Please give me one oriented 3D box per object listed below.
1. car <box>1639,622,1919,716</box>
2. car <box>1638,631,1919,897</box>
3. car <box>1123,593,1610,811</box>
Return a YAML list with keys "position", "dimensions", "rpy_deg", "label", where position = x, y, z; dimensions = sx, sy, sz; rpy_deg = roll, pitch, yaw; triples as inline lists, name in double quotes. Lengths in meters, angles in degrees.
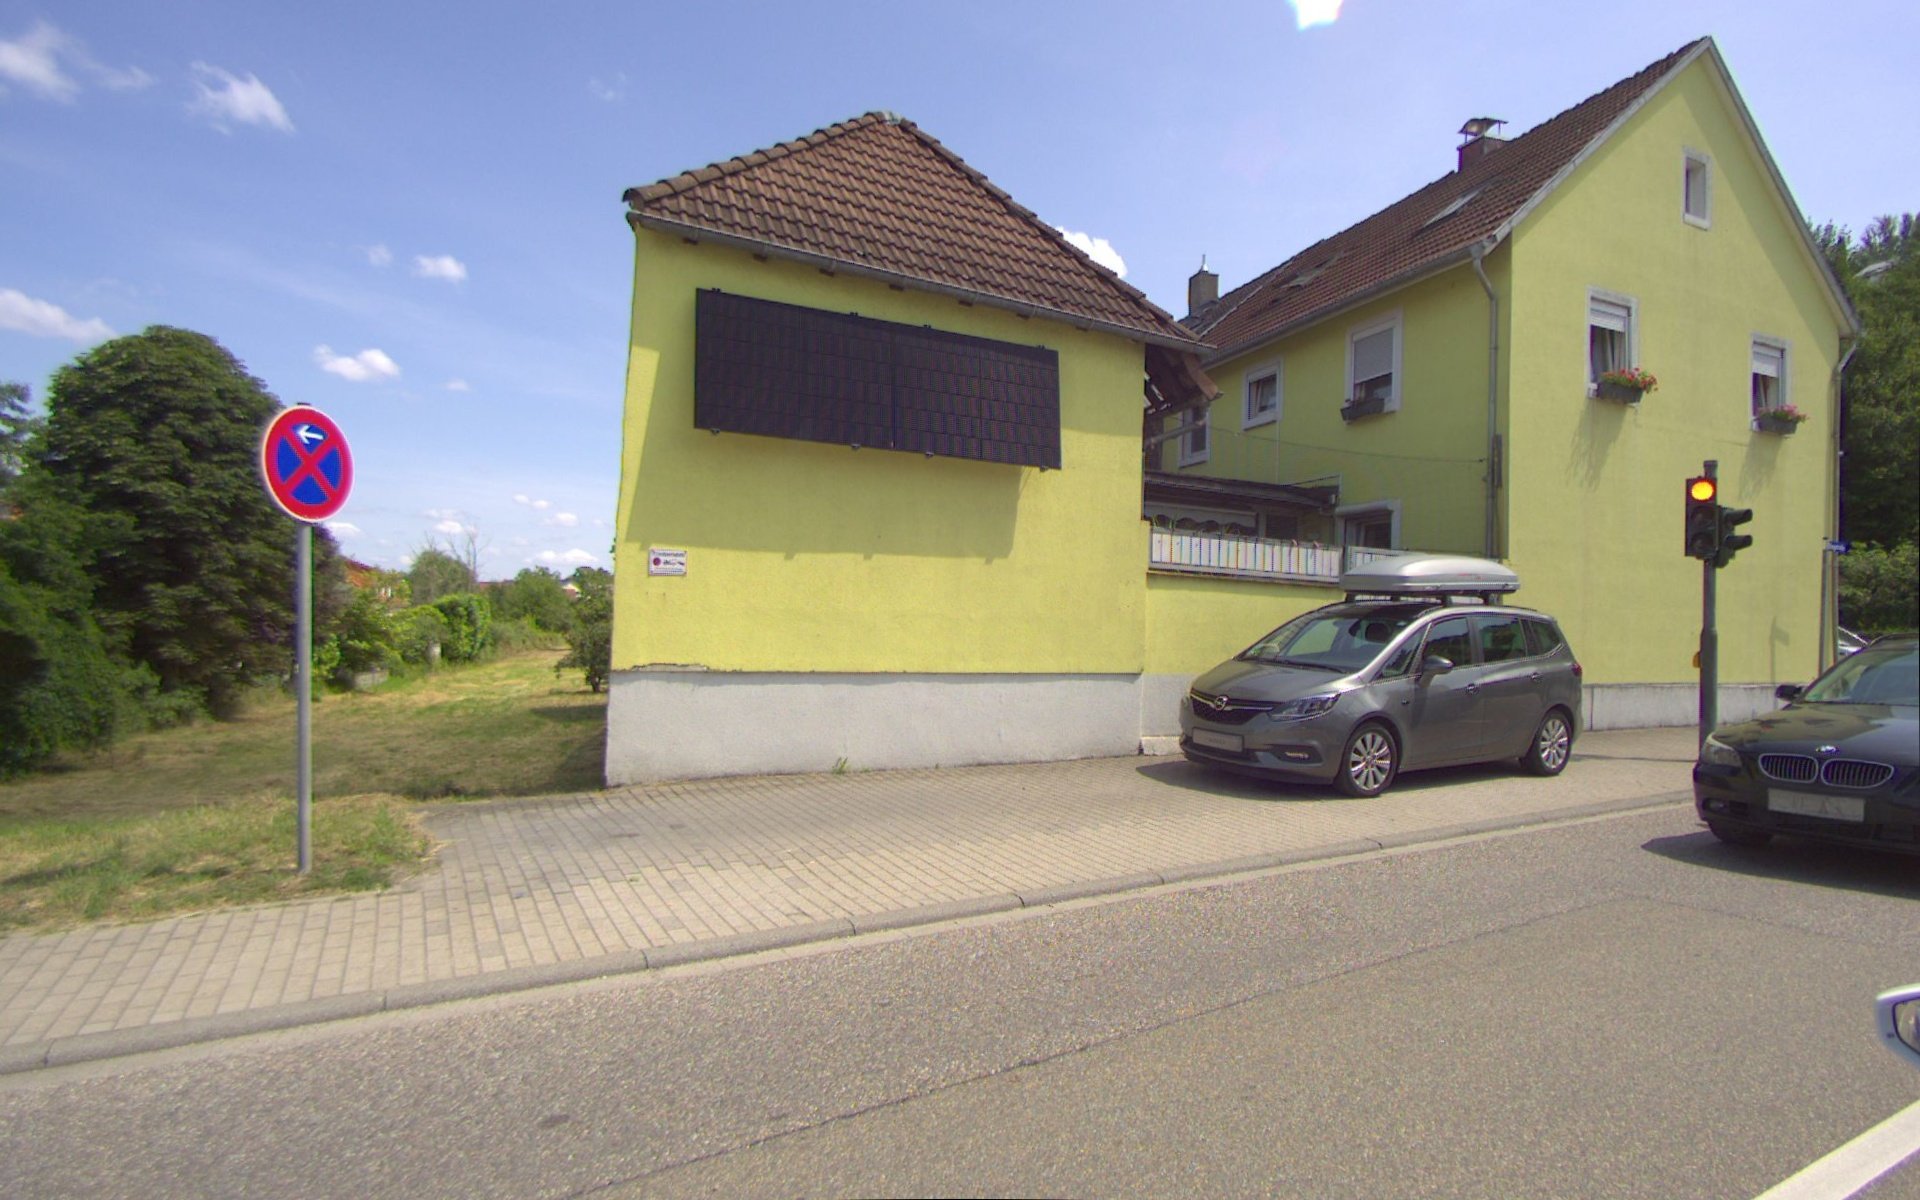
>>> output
- position: [18.832, 1.507, 23.261]
  dimensions: [1.971, 1.845, 4.865]
  rpy_deg: [4, -2, -21]
  label: "car"
- position: [7.079, 0.967, 7.064]
  dimensions: [4.611, 1.461, 1.857]
  rpy_deg: [1, -2, -27]
  label: "car"
- position: [4.021, 0.834, 9.767]
  dimensions: [4.576, 1.657, 1.984]
  rpy_deg: [1, 1, -30]
  label: "car"
